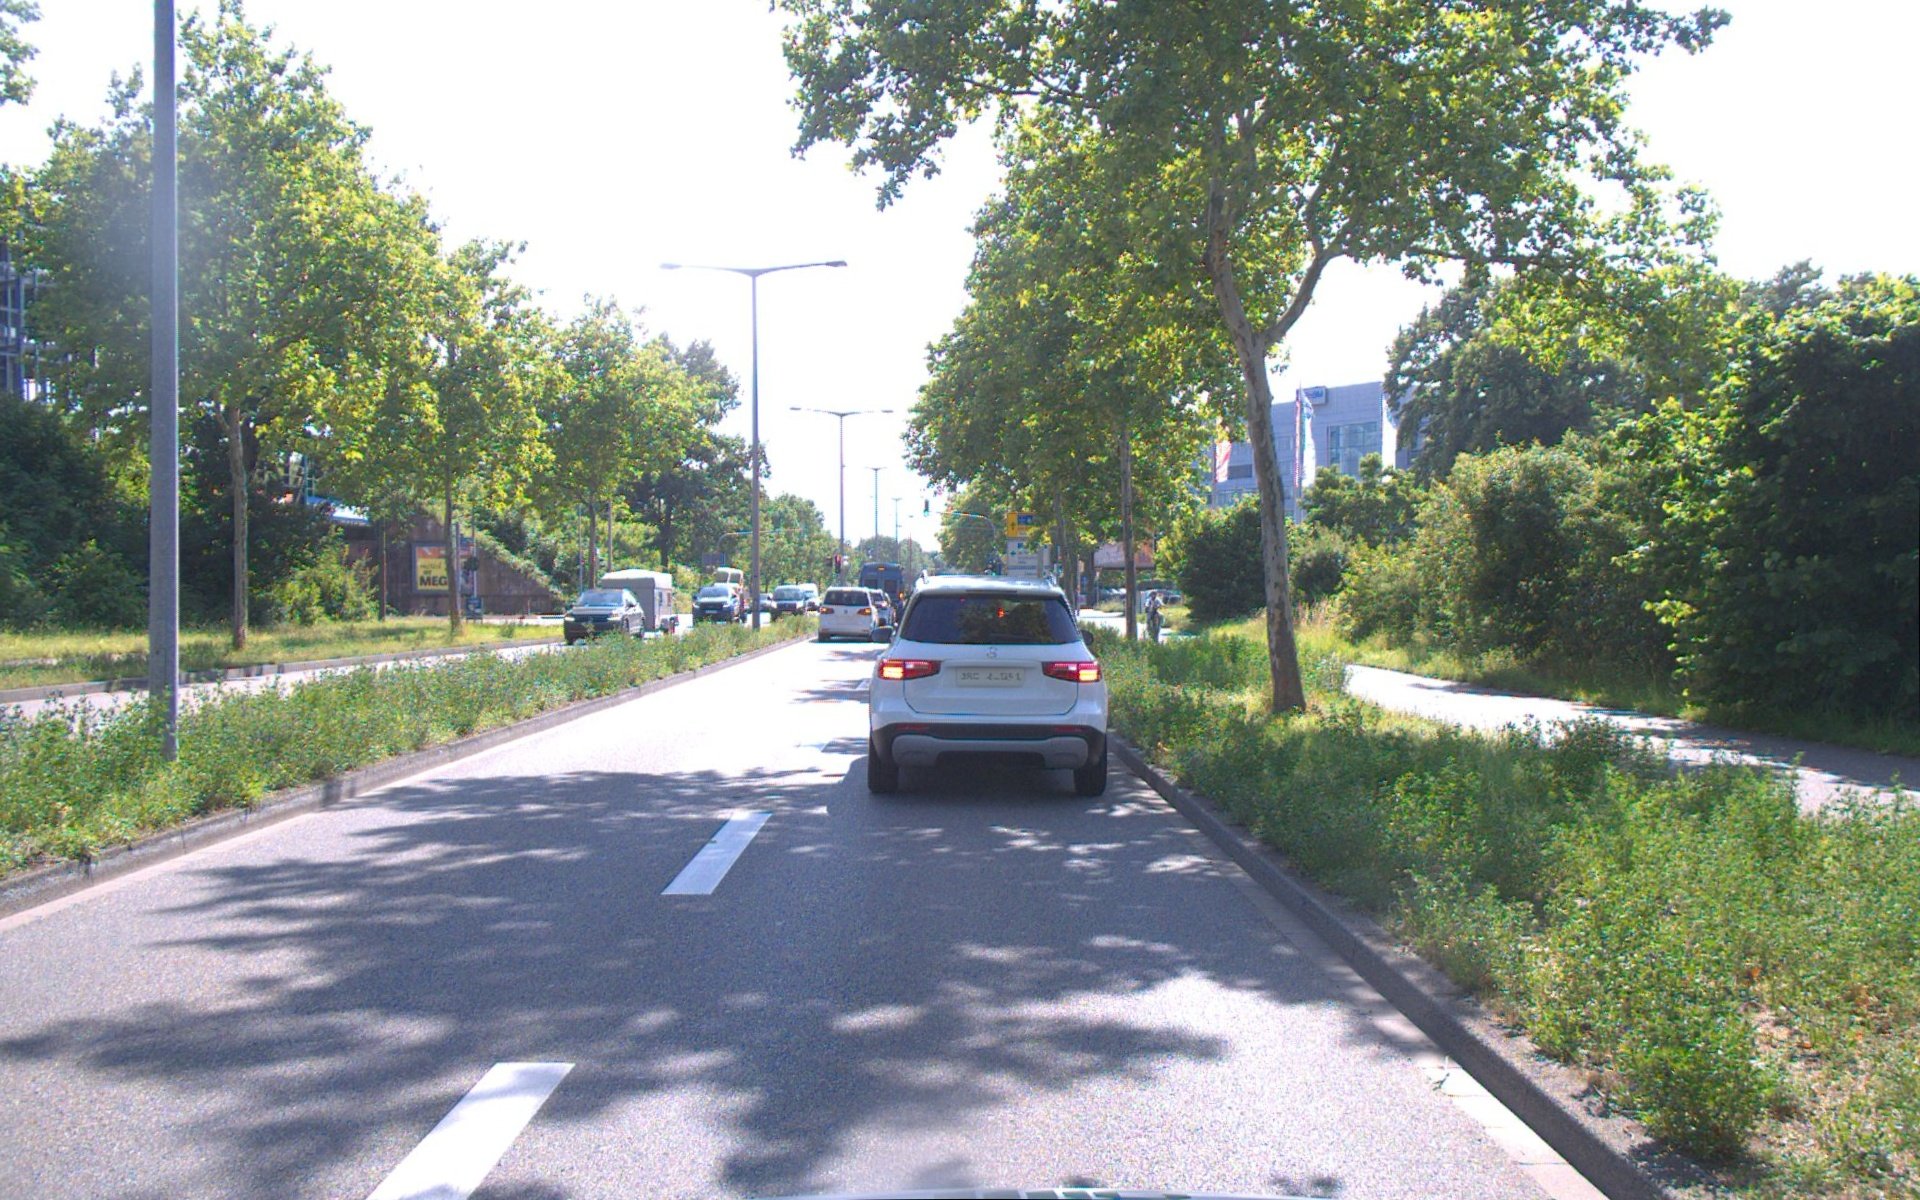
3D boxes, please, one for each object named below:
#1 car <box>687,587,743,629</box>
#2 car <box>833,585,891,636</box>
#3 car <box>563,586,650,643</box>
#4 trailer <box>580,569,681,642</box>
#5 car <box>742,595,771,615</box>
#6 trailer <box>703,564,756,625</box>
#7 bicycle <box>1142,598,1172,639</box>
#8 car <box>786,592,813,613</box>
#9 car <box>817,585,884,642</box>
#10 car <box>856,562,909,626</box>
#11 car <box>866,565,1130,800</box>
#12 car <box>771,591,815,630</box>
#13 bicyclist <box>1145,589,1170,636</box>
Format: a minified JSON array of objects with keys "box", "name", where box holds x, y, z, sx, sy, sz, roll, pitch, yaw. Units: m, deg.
[{"box":[-11.230,0.347,76.171,1.728,1.821,5.375,2,0,0],"name":"car"},{"box":[-3.364,0.339,57.219,1.735,1.676,4.084,1,0,0],"name":"car"},{"box":[-10.693,0.435,50.303,1.680,1.650,4.361,0,0,0],"name":"car"},{"box":[-10.925,0.182,55.263,2.261,2.305,5.538,0,0,0],"name":"trailer"},{"box":[-14.297,0.336,116.232,1.666,1.389,3.645,1,0,-1],"name":"car"},{"box":[-11.189,-0.260,80.657,1.841,2.792,4.828,2,0,0],"name":"trailer"},{"box":[6.456,0.605,54.277,0.708,1.321,2.095,1,0,0],"name":"bicycle"},{"box":[-11.545,0.178,119.306,1.570,1.497,3.790,1,0,0],"name":"car"},{"box":[-3.343,0.406,51.179,1.735,1.676,4.352,1,0,0],"name":"car"},{"box":[-3.395,-0.239,73.167,2.039,2.703,4.874,1,0,0],"name":"car"},{"box":[0.158,0.580,13.668,1.817,1.635,3.997,1,0,-4],"name":"car"},{"box":[-8.354,0.527,83.067,1.695,1.841,4.232,2,0,0],"name":"car"},{"box":[6.477,0.409,54.273,0.689,1.503,1.009,1,0,0],"name":"bicyclist"}]
